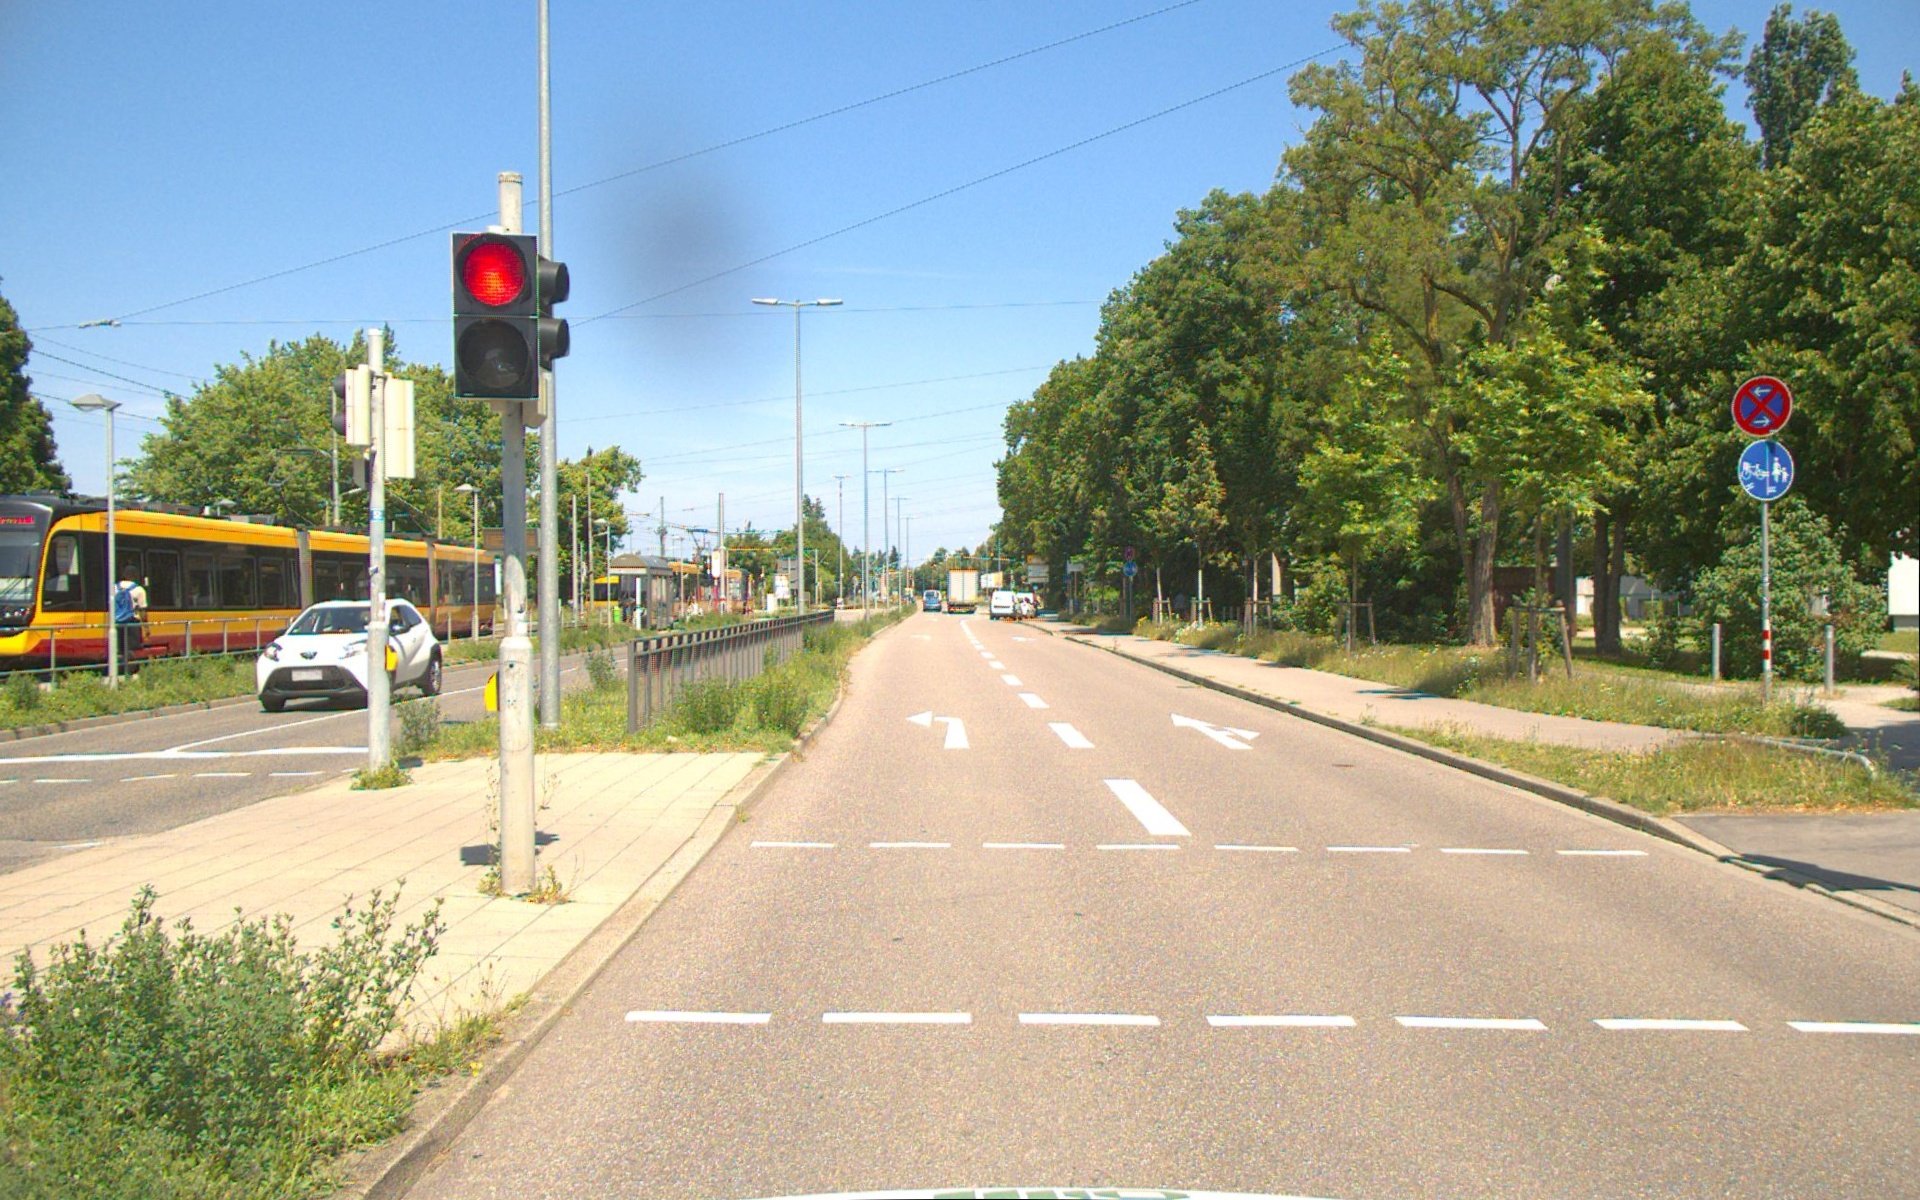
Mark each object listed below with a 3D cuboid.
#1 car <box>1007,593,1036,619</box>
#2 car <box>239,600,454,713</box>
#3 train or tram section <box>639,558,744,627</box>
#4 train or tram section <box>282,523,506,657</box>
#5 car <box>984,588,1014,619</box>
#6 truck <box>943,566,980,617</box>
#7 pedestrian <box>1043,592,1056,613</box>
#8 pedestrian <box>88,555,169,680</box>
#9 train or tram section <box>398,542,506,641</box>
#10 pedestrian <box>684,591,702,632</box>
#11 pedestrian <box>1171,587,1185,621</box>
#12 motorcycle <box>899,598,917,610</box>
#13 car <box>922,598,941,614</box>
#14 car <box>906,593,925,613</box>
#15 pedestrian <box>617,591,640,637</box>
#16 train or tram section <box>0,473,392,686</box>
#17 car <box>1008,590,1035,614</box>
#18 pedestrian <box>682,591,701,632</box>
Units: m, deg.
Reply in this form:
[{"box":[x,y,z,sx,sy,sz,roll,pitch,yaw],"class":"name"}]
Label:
[{"box":[4.184,0.399,112.461,1.743,1.698,3.999,0,0,-1],"class":"car"},{"box":[-8.953,0.766,24.479,1.807,1.521,3.790,0,0,-1],"class":"car"},{"box":[-16.787,-0.460,106.408,2.898,3.815,30.020,0,0,-2],"class":"train or tram section"},{"box":[-19.431,-0.331,58.619,3.153,4.000,18.480,0,0,-5],"class":"train or tram section"},{"box":[2.455,0.221,105.548,1.743,1.937,3.999,0,0,-1],"class":"car"},{"box":[0.073,-0.731,146.065,3.140,4.435,6.559,0,0,-1],"class":"truck"},{"box":[8.822,0.201,163.271,1.161,2.049,1.213,0,0,-1],"class":"pedestrian"},{"box":[-12.643,0.259,25.162,0.703,1.808,0.842,4,2,-1],"class":"pedestrian"},{"box":[-23.513,-0.373,75.730,3.171,4.000,18.375,0,0,-22],"class":"train or tram section"},{"box":[-13.464,0.590,83.439,0.798,2.049,0.938,0,0,-1],"class":"pedestrian"},{"box":[9.379,0.184,71.130,0.591,1.463,0.556,0,0,6],"class":"pedestrian"},{"box":[-6.311,0.496,200.224,2.144,1.431,0.845,0,0,-12],"class":"motorcycle"},{"box":[-2.682,0.522,157.835,1.774,1.490,3.999,0,0,-1],"class":"car"},{"box":[-4.695,0.332,175.088,1.953,2.049,3.999,0,0,-1],"class":"car"},{"box":[-13.848,0.593,69.081,0.769,1.901,0.817,0,0,-1],"class":"pedestrian"},{"box":[-18.580,-0.418,40.392,3.150,4.000,18.498,0,0,0],"class":"train or tram section"},{"box":[4.408,0.118,118.853,1.743,1.698,3.999,0,0,-1],"class":"car"},{"box":[-13.741,0.591,84.728,0.798,2.049,0.938,0,0,-1],"class":"pedestrian"}]
